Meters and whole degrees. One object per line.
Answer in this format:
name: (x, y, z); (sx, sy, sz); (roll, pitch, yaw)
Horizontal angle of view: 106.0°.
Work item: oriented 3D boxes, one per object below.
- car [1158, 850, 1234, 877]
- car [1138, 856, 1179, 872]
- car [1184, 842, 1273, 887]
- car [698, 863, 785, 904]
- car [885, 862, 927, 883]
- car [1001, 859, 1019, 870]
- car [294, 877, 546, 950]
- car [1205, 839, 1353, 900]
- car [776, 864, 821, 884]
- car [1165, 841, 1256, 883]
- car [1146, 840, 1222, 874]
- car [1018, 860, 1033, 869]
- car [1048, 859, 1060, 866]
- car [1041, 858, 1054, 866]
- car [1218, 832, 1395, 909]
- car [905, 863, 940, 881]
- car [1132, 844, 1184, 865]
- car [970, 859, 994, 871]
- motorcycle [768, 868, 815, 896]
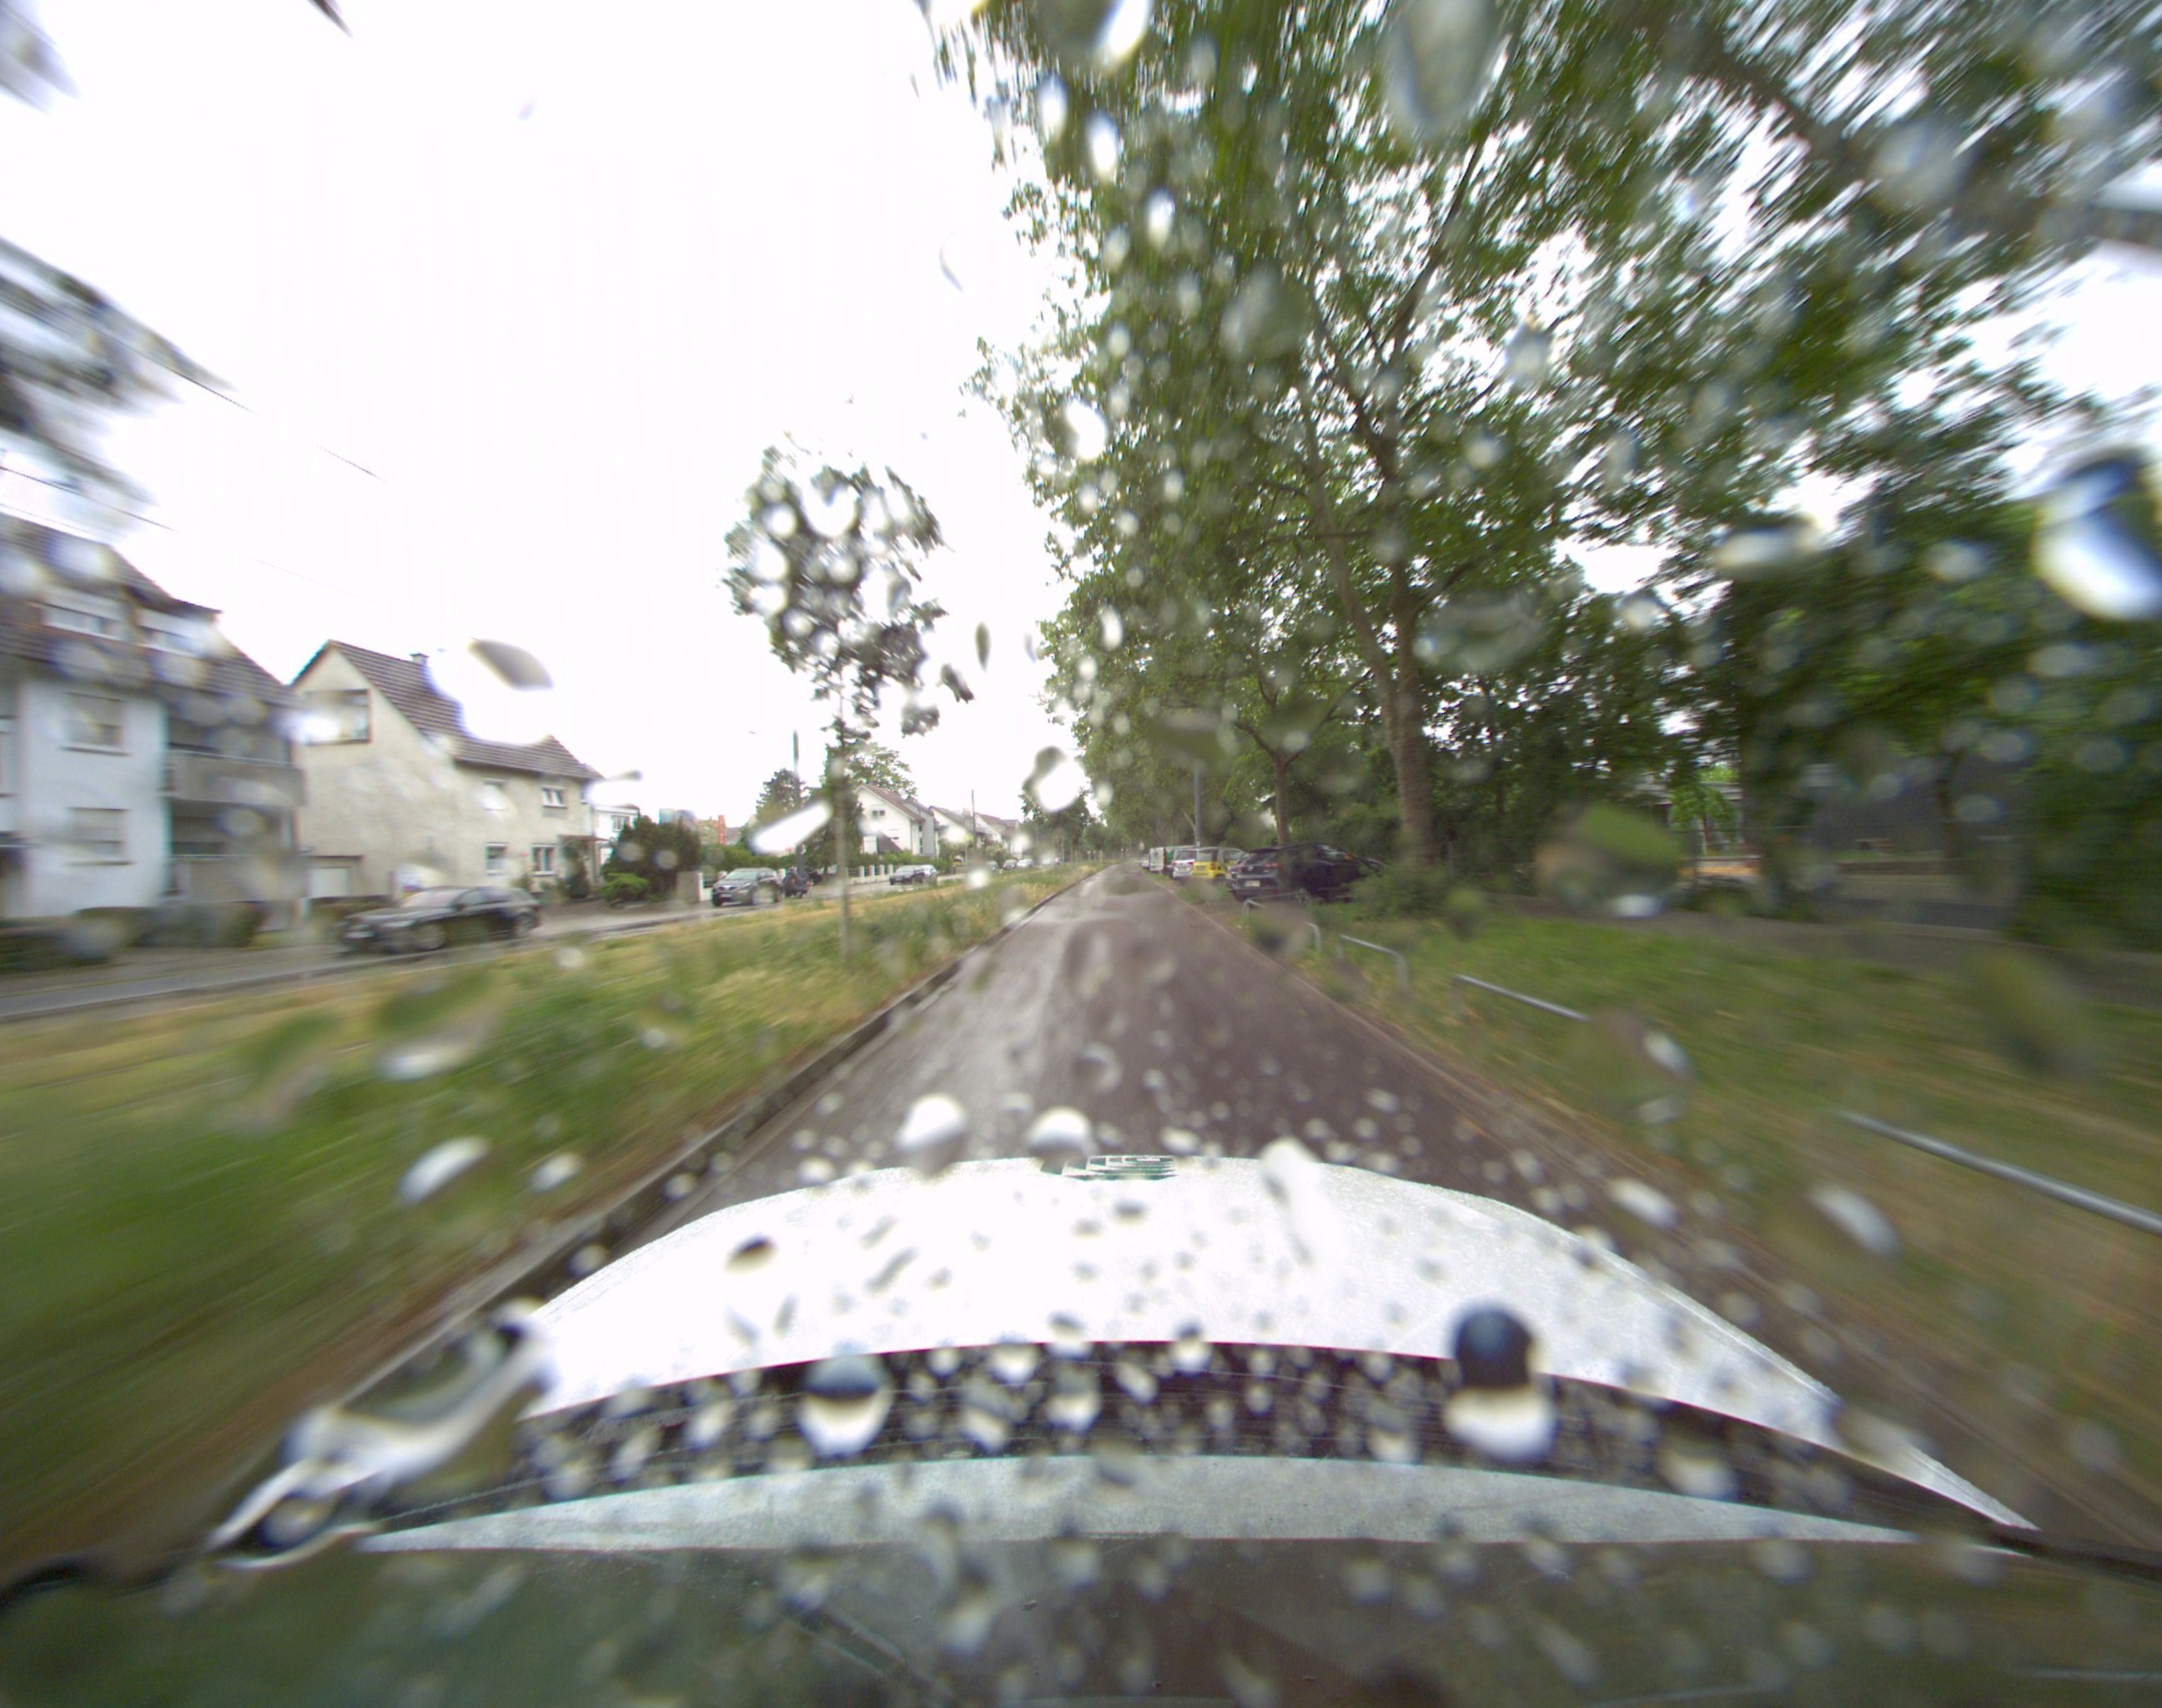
car: (6.623, 0.530, 46.603); (4.326, 1.384, 1.721); (-2, 0, -37)
car: (9.582, 1.220, 100.380); (4.794, 1.668, 1.974); (-3, 0, -34)
car: (5.599, 0.391, 30.913); (2.911, 1.466, 1.589); (-4, -1, -27)
car: (-15.168, 1.266, 36.708); (1.987, 1.674, 4.388); (-1, 0, 1)
car: (-13.569, 1.415, 63.530); (1.984, 1.455, 4.537); (0, 0, 4)
car: (-10.497, 1.507, 119.961); (1.984, 1.516, 4.210); (0, 0, 4)
car: (-15.710, 1.341, 19.797); (1.984, 1.411, 4.767); (0, 0, 4)
car: (5.684, 0.428, 23.216); (4.080, 1.418, 1.724); (-4, -1, -34)
car: (-21.969, 1.549, 63.461); (1.985, 1.455, 3.921); (0, 0, 2)
car: (5.944, 0.361, 37.158); (4.066, 1.641, 1.636); (-3, -1, -36)
car: (7.183, 0.179, 56.599); (5.049, 2.013, 1.979); (-4, 1, -33)
car: (-8.978, 1.713, 131.677); (1.788, 1.488, 3.601); (0, 0, 4)
car: (-5.838, 1.776, 175.955); (1.984, 1.488, 4.210); (0, 0, 4)
car: (-6.677, 1.554, 162.365); (1.984, 1.581, 4.522); (0, 0, 4)
car: (5.457, 0.365, 19.686); (3.813, 1.532, 1.867); (-4, 0, -27)
car: (-13.435, 1.486, 69.168); (1.985, 1.411, 3.974); (0, 0, 2)
car: (7.236, 0.062, 76.347); (4.575, 1.544, 1.870); (-5, 1, -30)
car: (-11.861, 1.333, 97.713); (1.984, 1.350, 4.245); (0, 0, 4)
motorcycle: (-15.028, 1.440, 42.205); (2.654, 1.411, 1.274); (-2, -2, 45)
